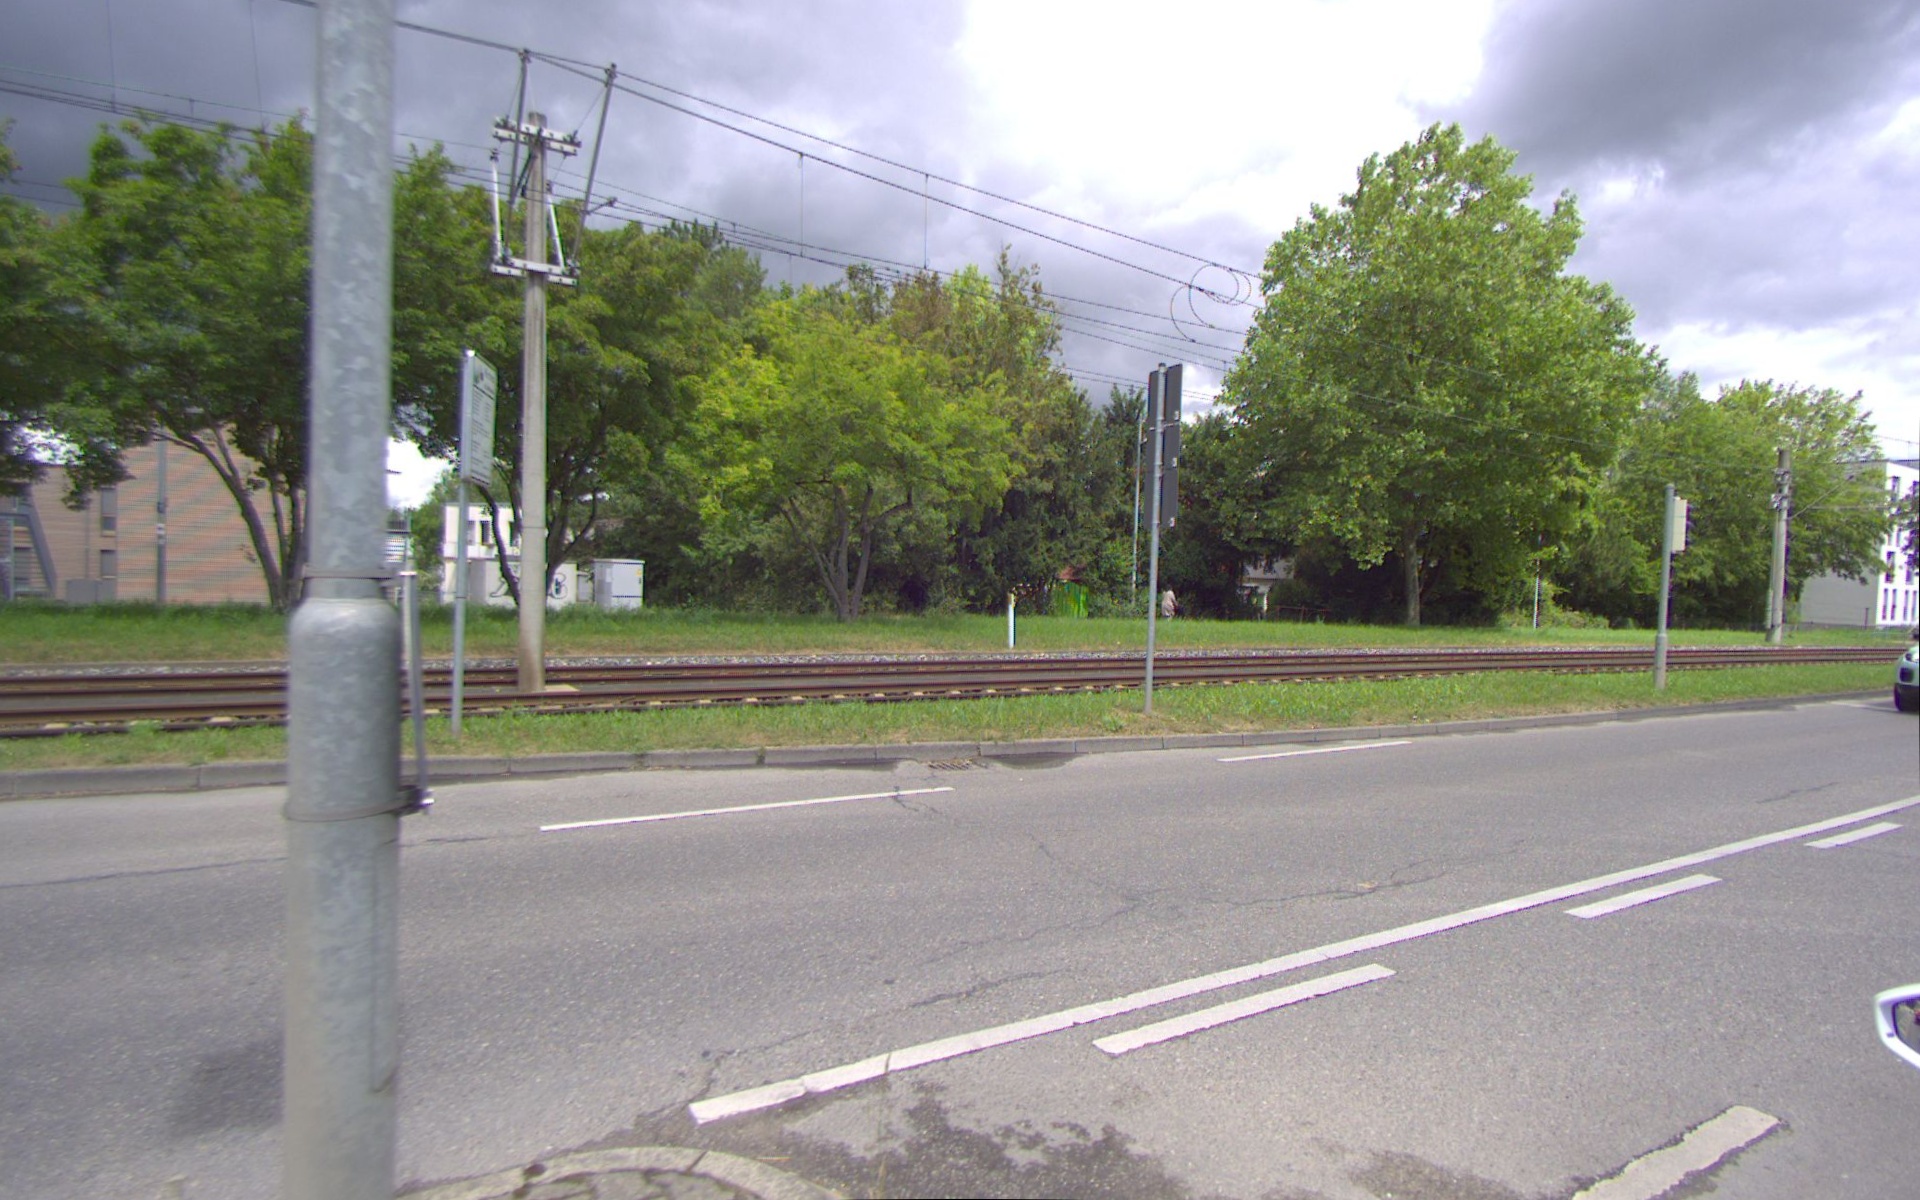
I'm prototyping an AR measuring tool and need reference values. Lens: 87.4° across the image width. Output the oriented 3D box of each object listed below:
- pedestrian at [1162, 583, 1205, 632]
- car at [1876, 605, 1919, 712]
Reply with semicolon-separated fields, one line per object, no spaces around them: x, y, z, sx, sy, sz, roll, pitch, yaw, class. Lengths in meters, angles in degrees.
9.269;0.294;41.639;1.347;1.960;1.029;1;2;-30;pedestrian
17.064;1.001;16.437;4.556;1.632;1.850;2;1;-32;car
